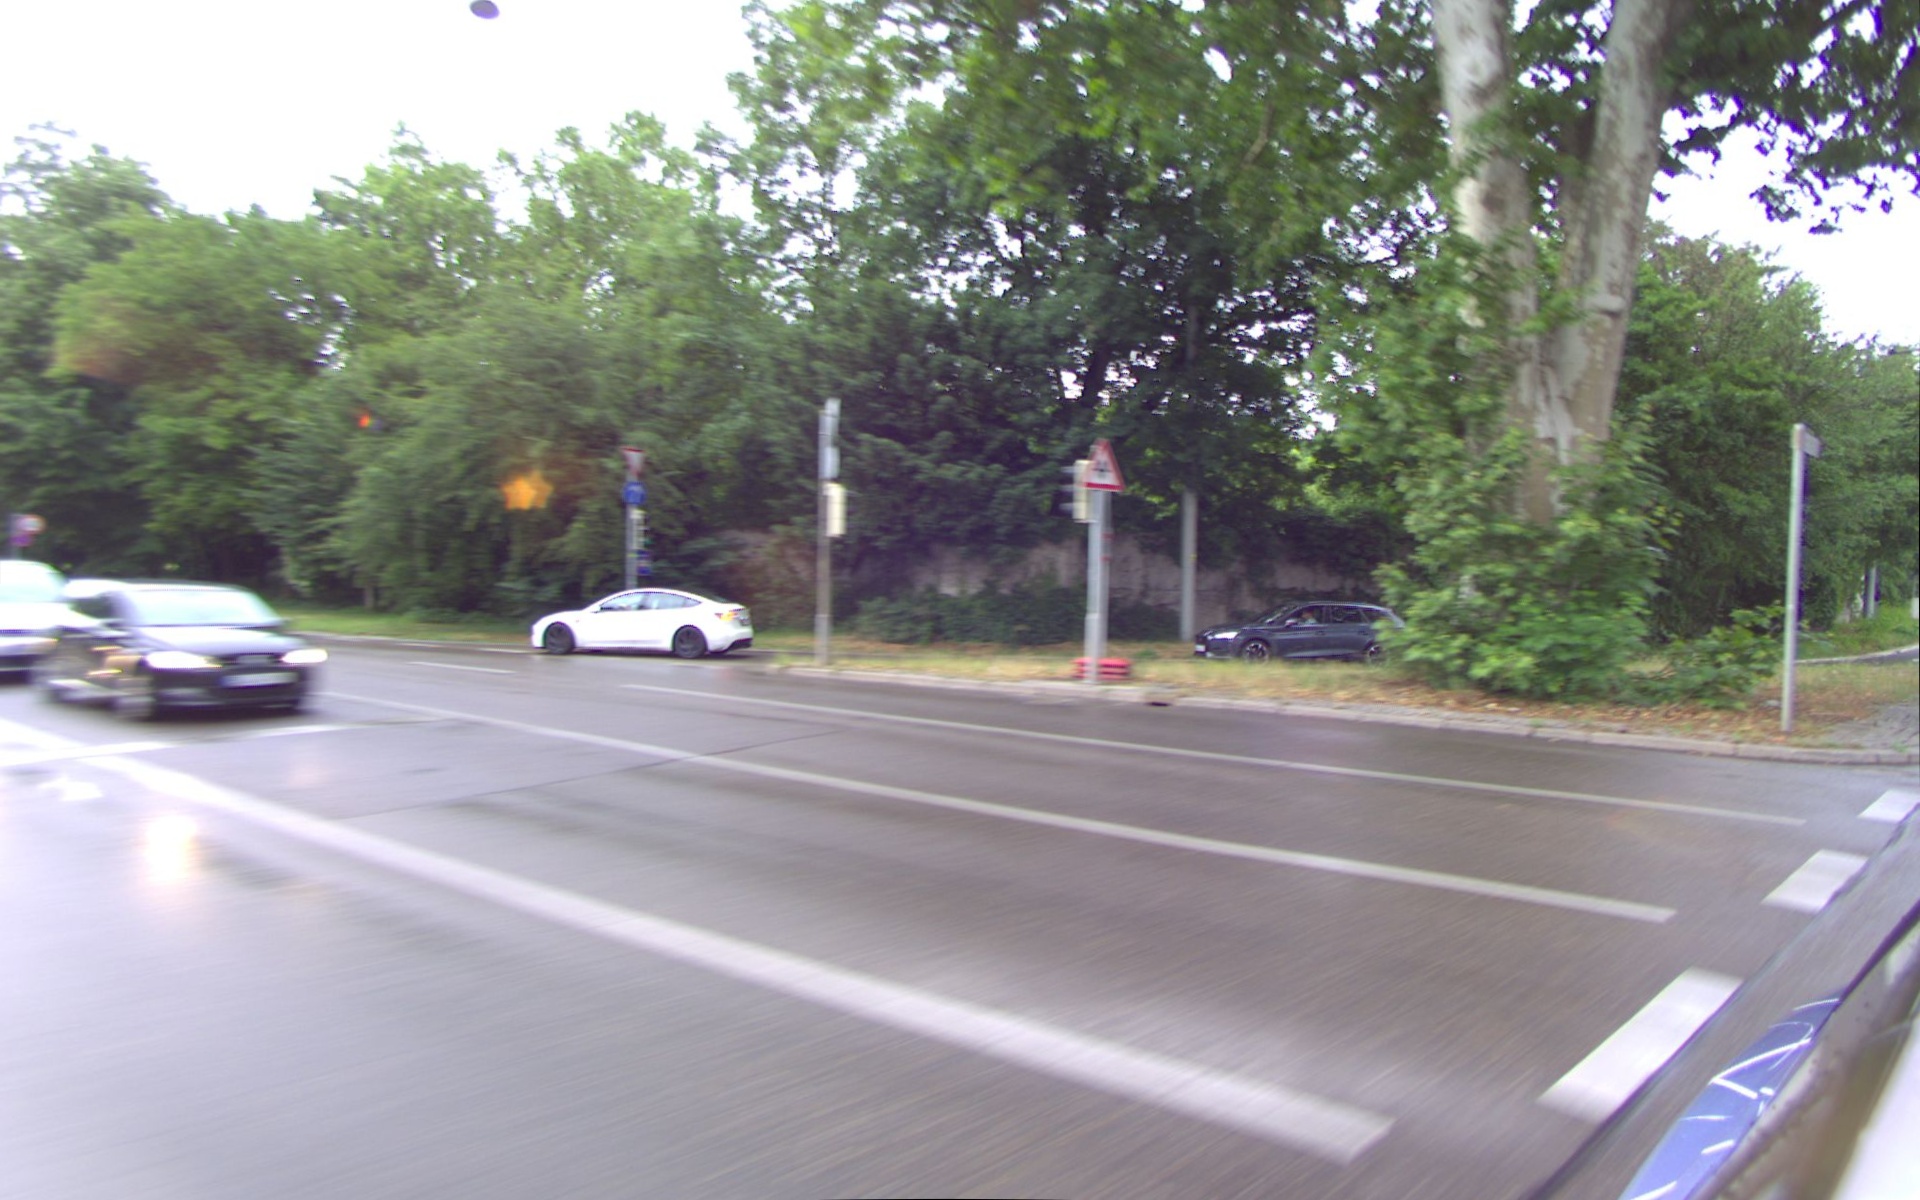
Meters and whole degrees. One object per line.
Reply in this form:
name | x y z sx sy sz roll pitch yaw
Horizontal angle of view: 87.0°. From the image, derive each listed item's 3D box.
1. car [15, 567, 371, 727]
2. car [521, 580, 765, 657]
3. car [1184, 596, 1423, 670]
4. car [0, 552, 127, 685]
car | -8.741 0.415 11.471 4.166 1.479 1.773 2 0 31
car | -6.600 0.345 21.307 4.539 1.467 1.855 1 1 7
car | 7.093 0.681 21.150 4.325 1.421 1.755 -1 -2 -5
car | -13.784 0.177 14.352 4.180 1.701 1.885 2 1 33
